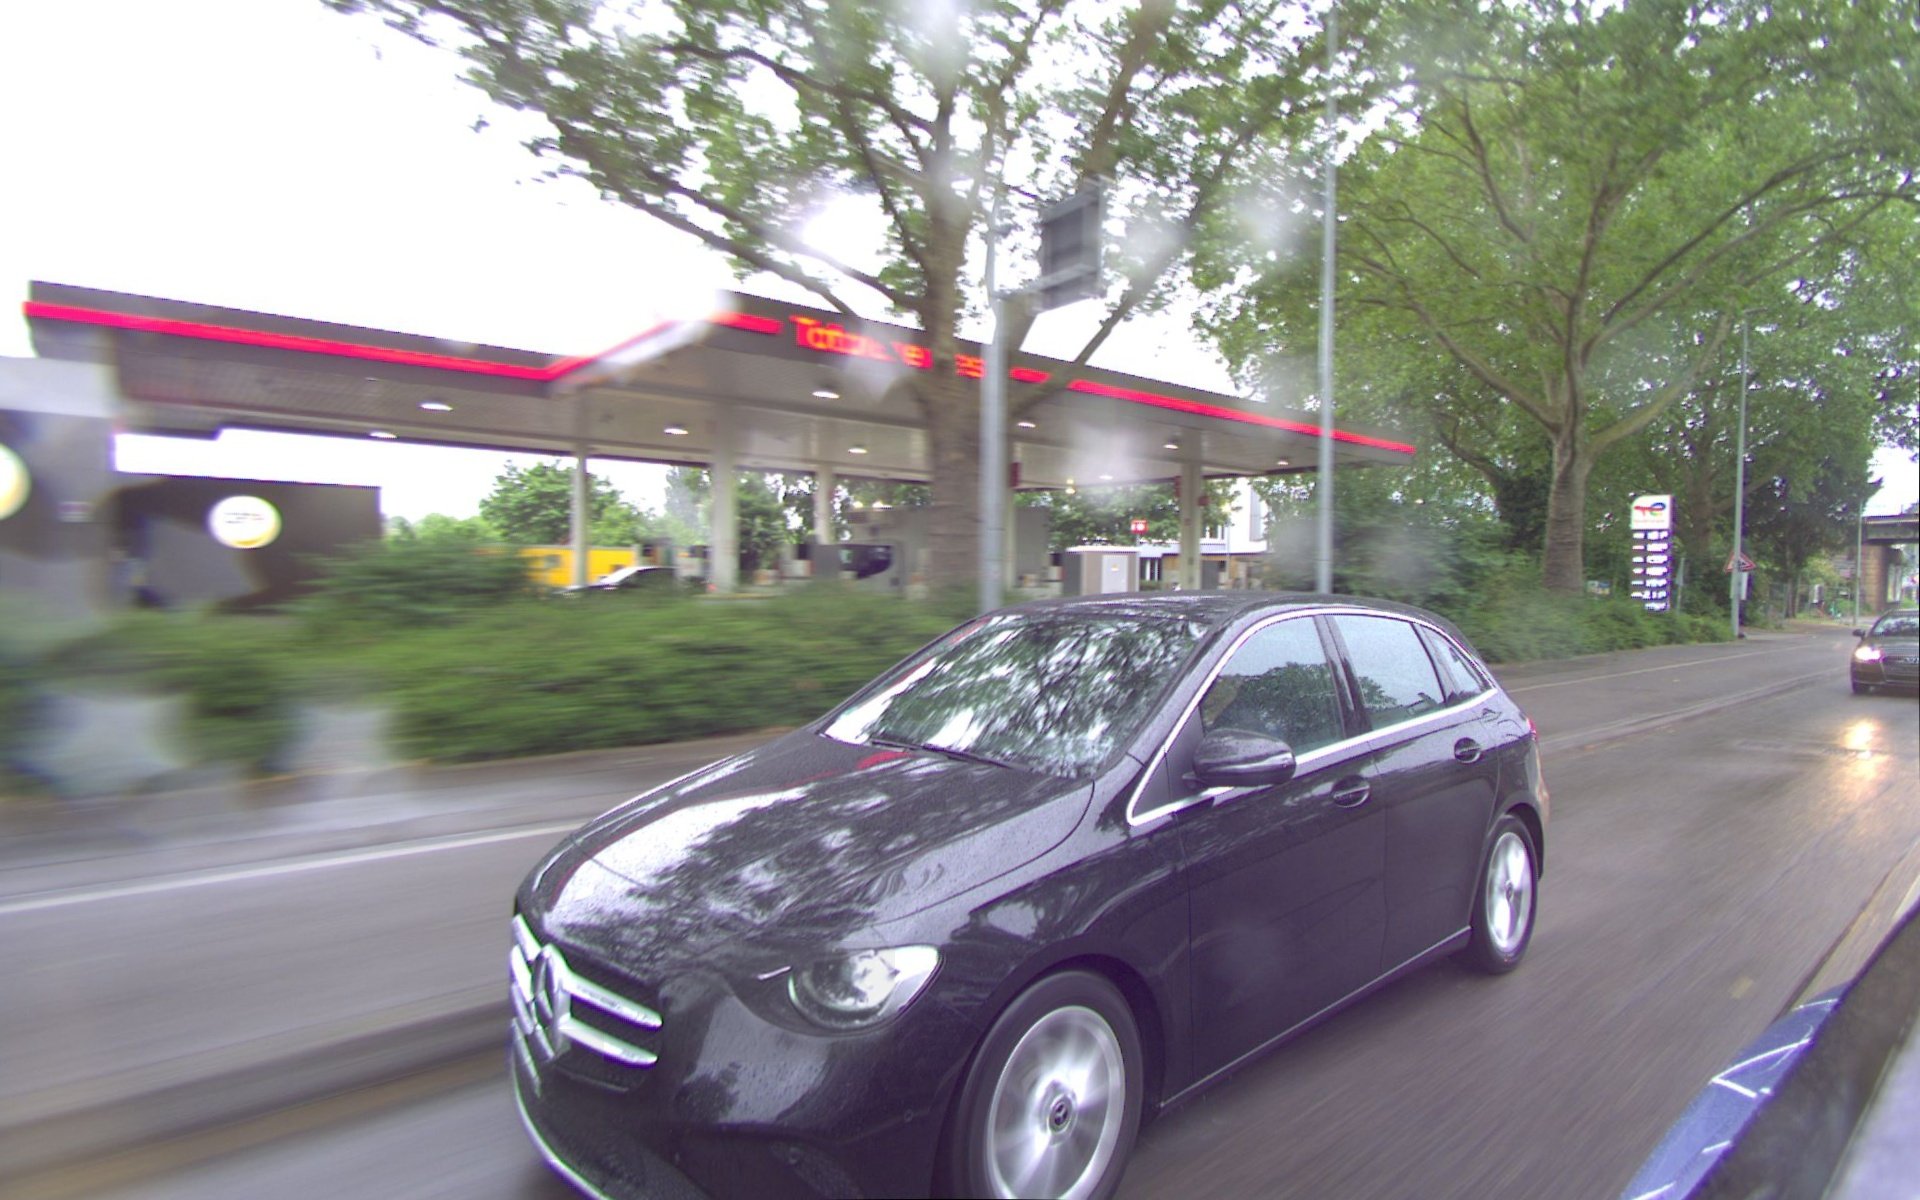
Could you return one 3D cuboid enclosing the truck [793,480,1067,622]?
[{"bbox_3d":[-0.602,-1.190,27.671,7.638,3.394,2.697,0,0,-43],"label":"truck"}]

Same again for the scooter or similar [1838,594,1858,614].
[{"bbox_3d":[52.558,0.251,59.891,1.792,1.174,0.454,0,0,-34],"label":"scooter or similar"}]

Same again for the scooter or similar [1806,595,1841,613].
[{"bbox_3d":[50.702,0.224,59.408,1.705,1.022,0.454,0,0,-3],"label":"scooter or similar"}]

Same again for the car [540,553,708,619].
[{"bbox_3d":[-8.807,-0.355,26.653,3.812,1.613,1.832,0,0,-41],"label":"car"}]

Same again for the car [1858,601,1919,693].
[{"bbox_3d":[16.534,0.739,16.958,3.714,1.402,1.641,-1,1,-39],"label":"car"}]

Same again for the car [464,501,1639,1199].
[{"bbox_3d":[0.775,0.589,3.731,4.346,1.549,1.819,-2,0,-42],"label":"car"}]
